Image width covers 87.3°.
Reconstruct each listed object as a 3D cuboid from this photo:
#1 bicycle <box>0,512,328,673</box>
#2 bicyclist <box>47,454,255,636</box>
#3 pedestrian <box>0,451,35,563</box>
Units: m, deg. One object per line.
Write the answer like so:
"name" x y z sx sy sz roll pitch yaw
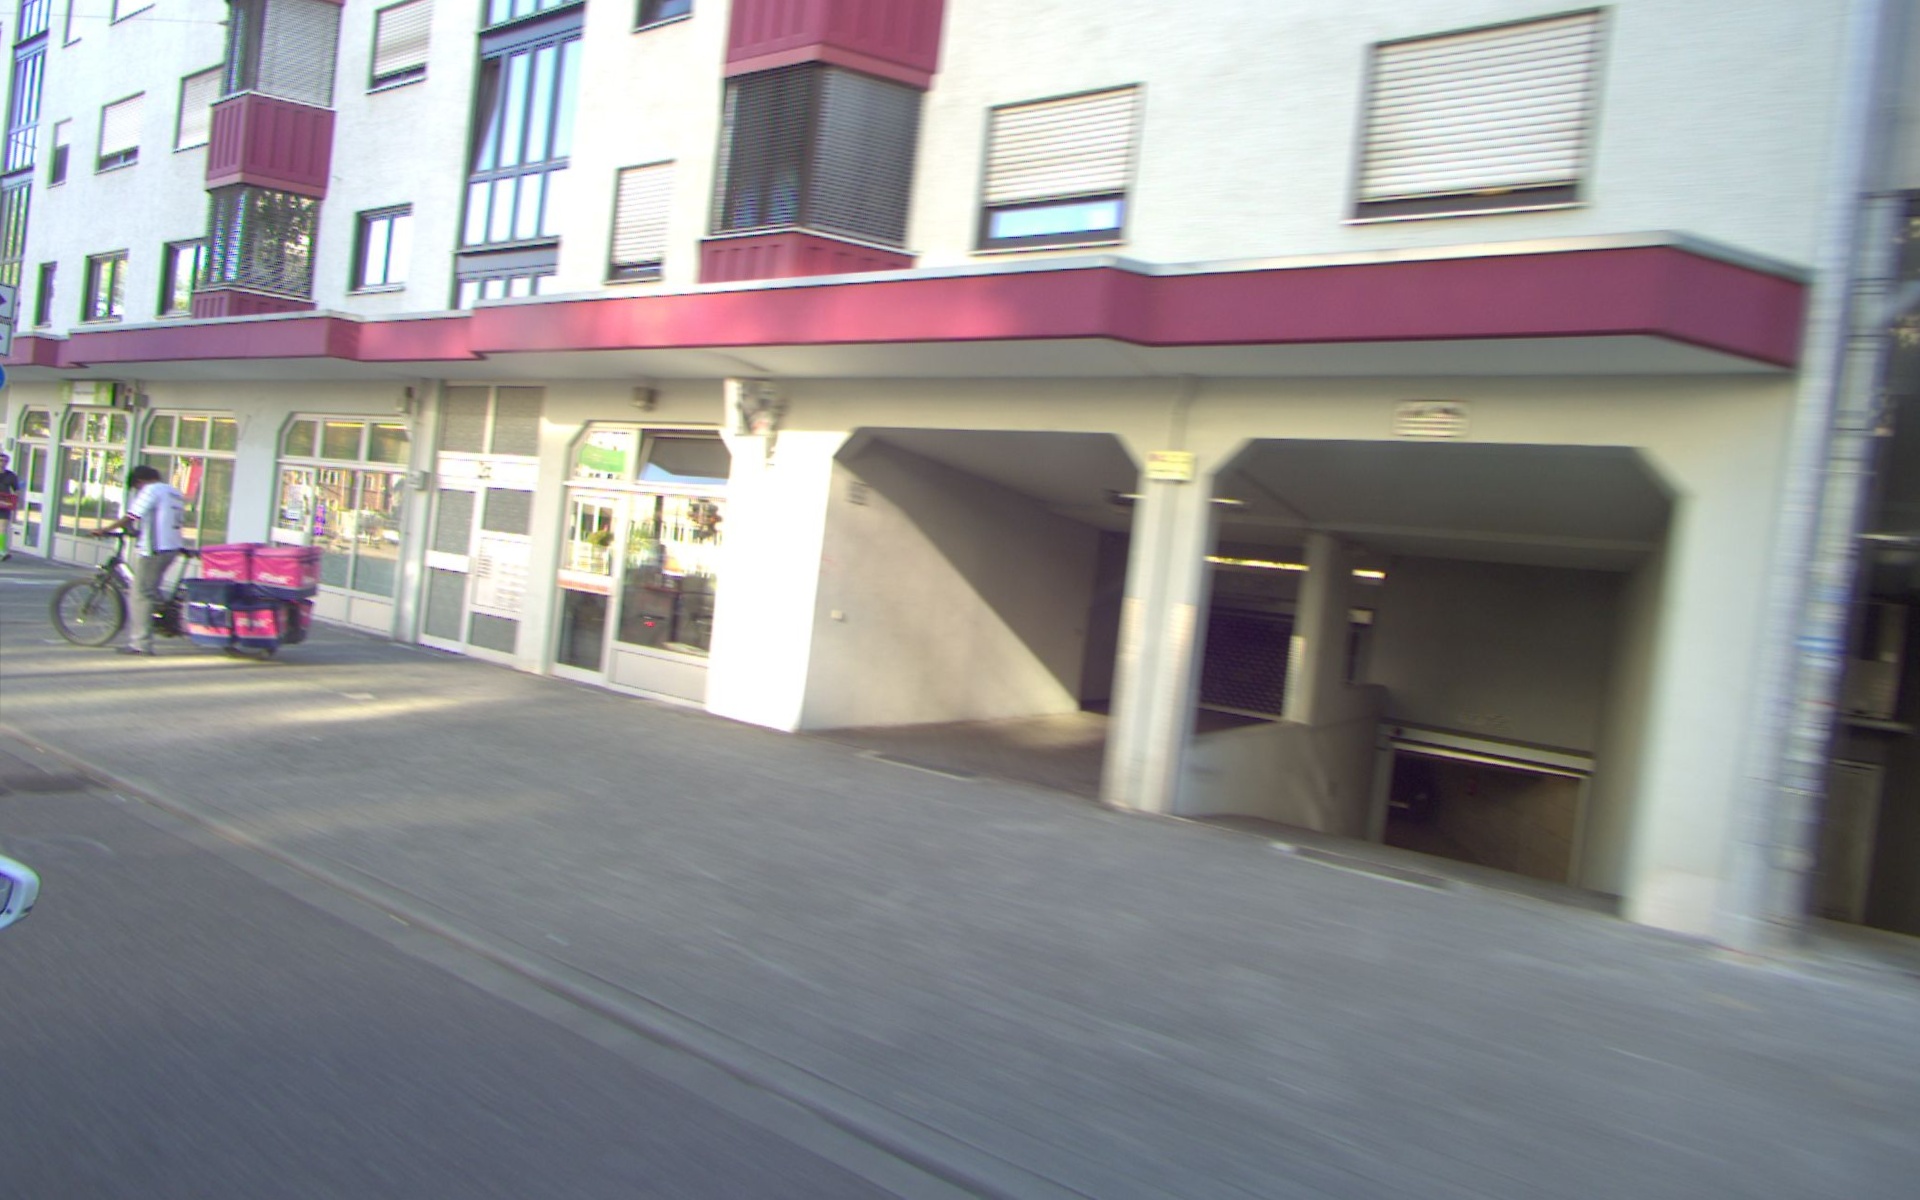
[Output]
"bicycle" -7.875 -0.074 9.882 2.552 1.198 0.962 7 1 -6
"bicyclist" -7.878 -0.514 9.870 1.060 1.559 1.059 7 1 -6
"pedestrian" -16.868 -1.656 17.579 0.787 1.881 0.723 7 1 31
